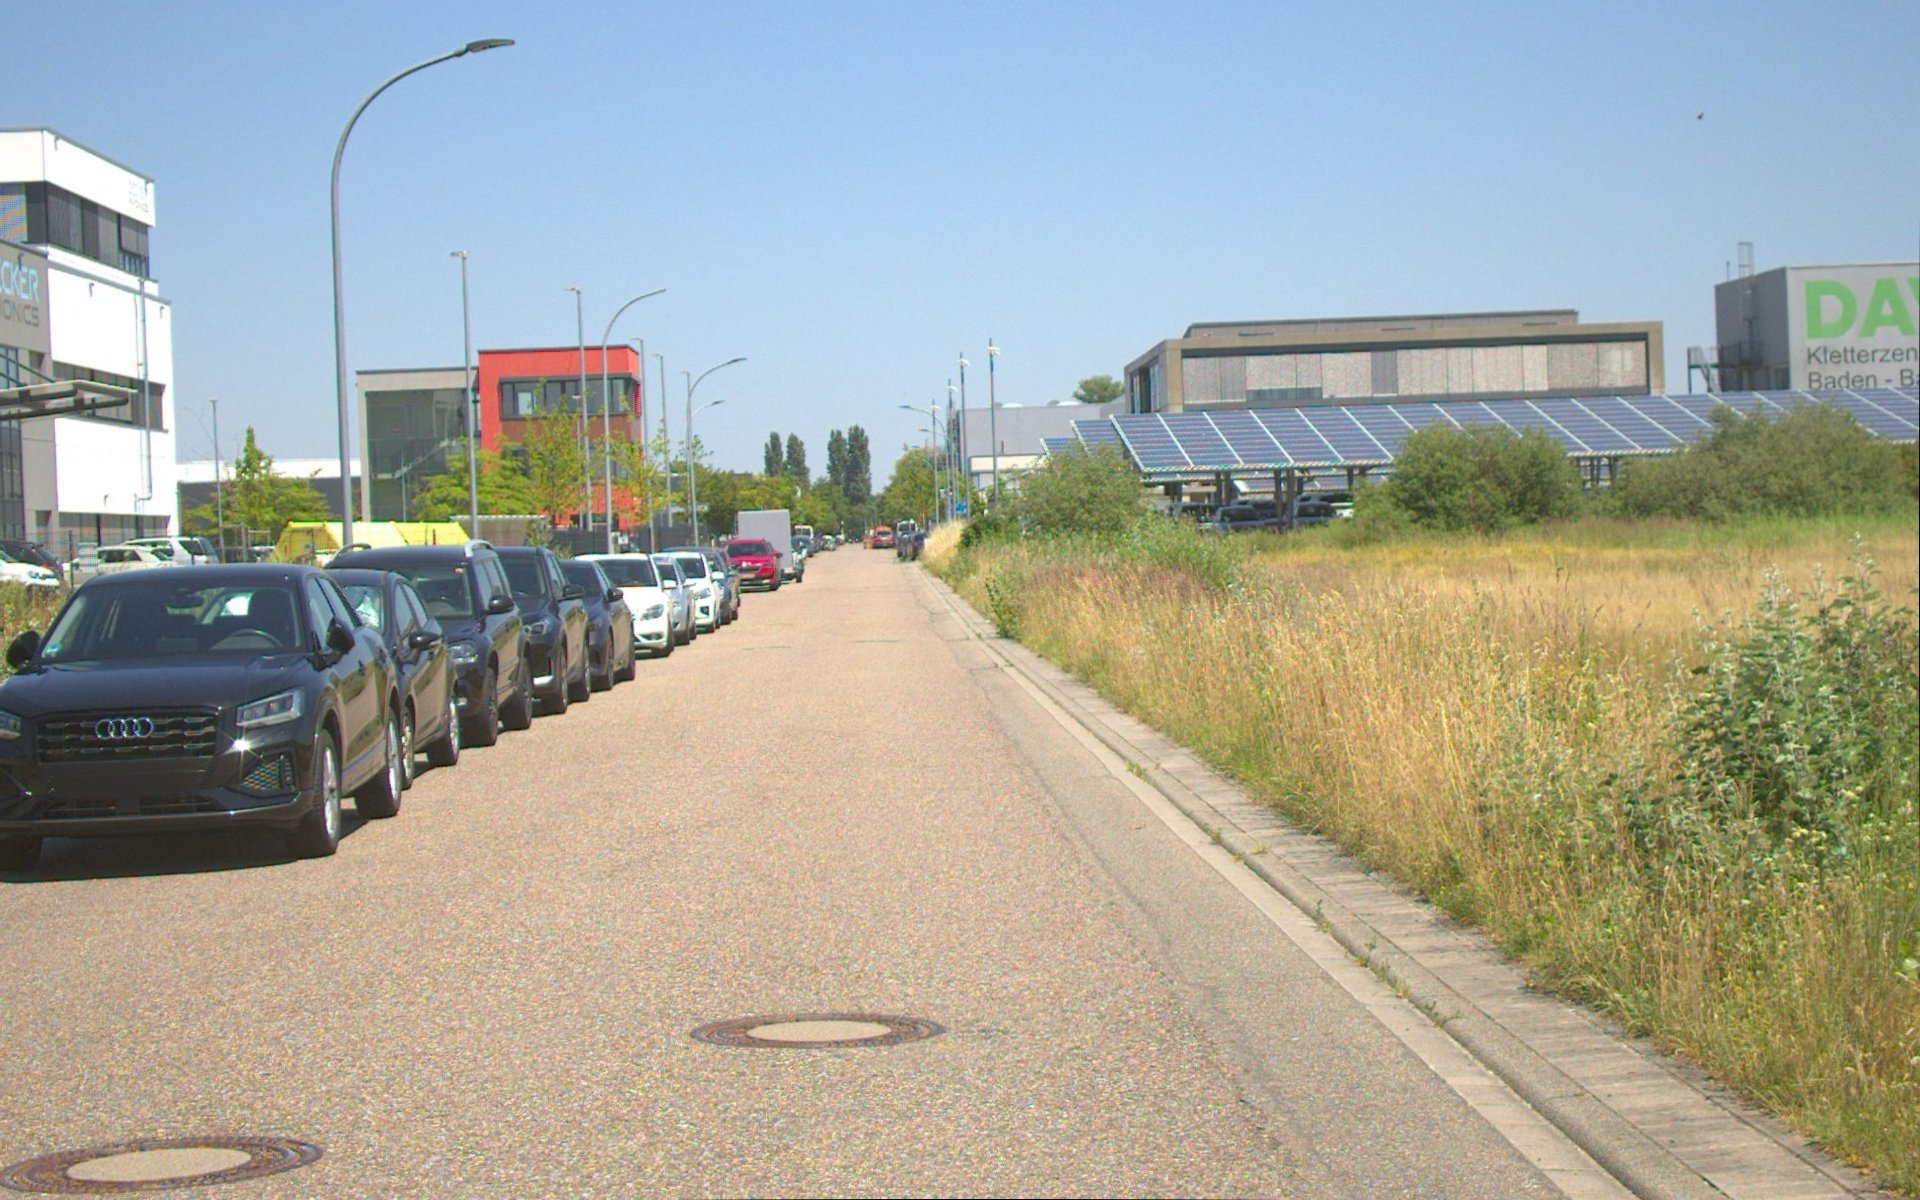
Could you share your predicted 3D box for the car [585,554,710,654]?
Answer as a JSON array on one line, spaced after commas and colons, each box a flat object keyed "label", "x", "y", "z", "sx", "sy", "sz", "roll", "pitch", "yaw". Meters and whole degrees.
[{"label": "car", "x": -5.250, "y": 0.040, "z": 58.186, "sx": 1.786, "sy": 1.515, "sz": 3.983, "roll": -2, "pitch": 1, "yaw": -1}]

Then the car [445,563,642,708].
[{"label": "car", "x": -4.834, "y": 0.366, "z": 40.467, "sx": 1.768, "sy": 1.480, "sz": 5.015, "roll": -2, "pitch": 1, "yaw": -1}]

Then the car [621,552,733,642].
[{"label": "car", "x": -5.218, "y": -0.087, "z": 63.710, "sx": 1.786, "sy": 1.515, "sz": 3.983, "roll": -2, "pitch": 1, "yaw": -1}]

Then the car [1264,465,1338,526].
[{"label": "car", "x": 11.910, "y": -3.633, "z": 120.326, "sx": 1.993, "sy": 2.007, "sz": 4.000, "roll": -2, "pitch": 1, "yaw": -2}]

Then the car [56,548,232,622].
[{"label": "car", "x": -23.470, "y": -0.440, "z": 98.957, "sx": 4.528, "sy": 1.936, "sz": 2.031, "roll": -2, "pitch": 1, "yaw": -1}]

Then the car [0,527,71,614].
[{"label": "car", "x": -22.945, "y": -0.614, "z": 78.850, "sx": 4.528, "sy": 1.936, "sz": 2.031, "roll": -2, "pitch": 1, "yaw": -1}]

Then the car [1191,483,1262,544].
[{"label": "car", "x": 9.310, "y": -3.008, "z": 120.281, "sx": 1.993, "sy": 2.007, "sz": 4.000, "roll": -2, "pitch": 1, "yaw": -2}]

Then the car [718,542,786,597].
[{"label": "car", "x": -6.099, "y": -0.920, "z": 101.019, "sx": 1.787, "sy": 1.515, "sz": 3.983, "roll": -2, "pitch": 1, "yaw": -1}]

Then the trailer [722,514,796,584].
[{"label": "trailer", "x": -6.561, "y": -1.671, "z": 112.584, "sx": 2.201, "sy": 2.130, "sz": 4.286, "roll": -2, "pitch": 1, "yaw": -1}]

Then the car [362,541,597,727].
[{"label": "car", "x": -4.771, "y": 0.284, "z": 34.695, "sx": 1.768, "sy": 1.657, "sz": 4.552, "roll": -2, "pitch": 1, "yaw": -1}]

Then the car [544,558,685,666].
[{"label": "car", "x": -5.211, "y": 0.149, "z": 52.278, "sx": 1.786, "sy": 1.515, "sz": 3.983, "roll": -2, "pitch": 1, "yaw": -1}]

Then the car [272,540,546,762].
[{"label": "car", "x": -4.596, "y": 0.364, "z": 29.203, "sx": 1.677, "sy": 1.657, "sz": 4.237, "roll": -2, "pitch": 1, "yaw": -1}]

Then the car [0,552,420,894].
[{"label": "car", "x": -4.177, "y": 0.573, "z": 18.740, "sx": 1.926, "sy": 1.562, "sz": 4.190, "roll": -2, "pitch": 1, "yaw": -3}]

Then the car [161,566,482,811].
[{"label": "car", "x": -4.425, "y": 0.560, "z": 24.322, "sx": 1.590, "sy": 1.487, "sz": 3.833, "roll": -2, "pitch": 1, "yaw": -1}]

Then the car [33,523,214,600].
[{"label": "car", "x": -23.456, "y": -1.080, "z": 96.482, "sx": 4.528, "sy": 1.936, "sz": 2.031, "roll": -2, "pitch": 1, "yaw": -1}]
